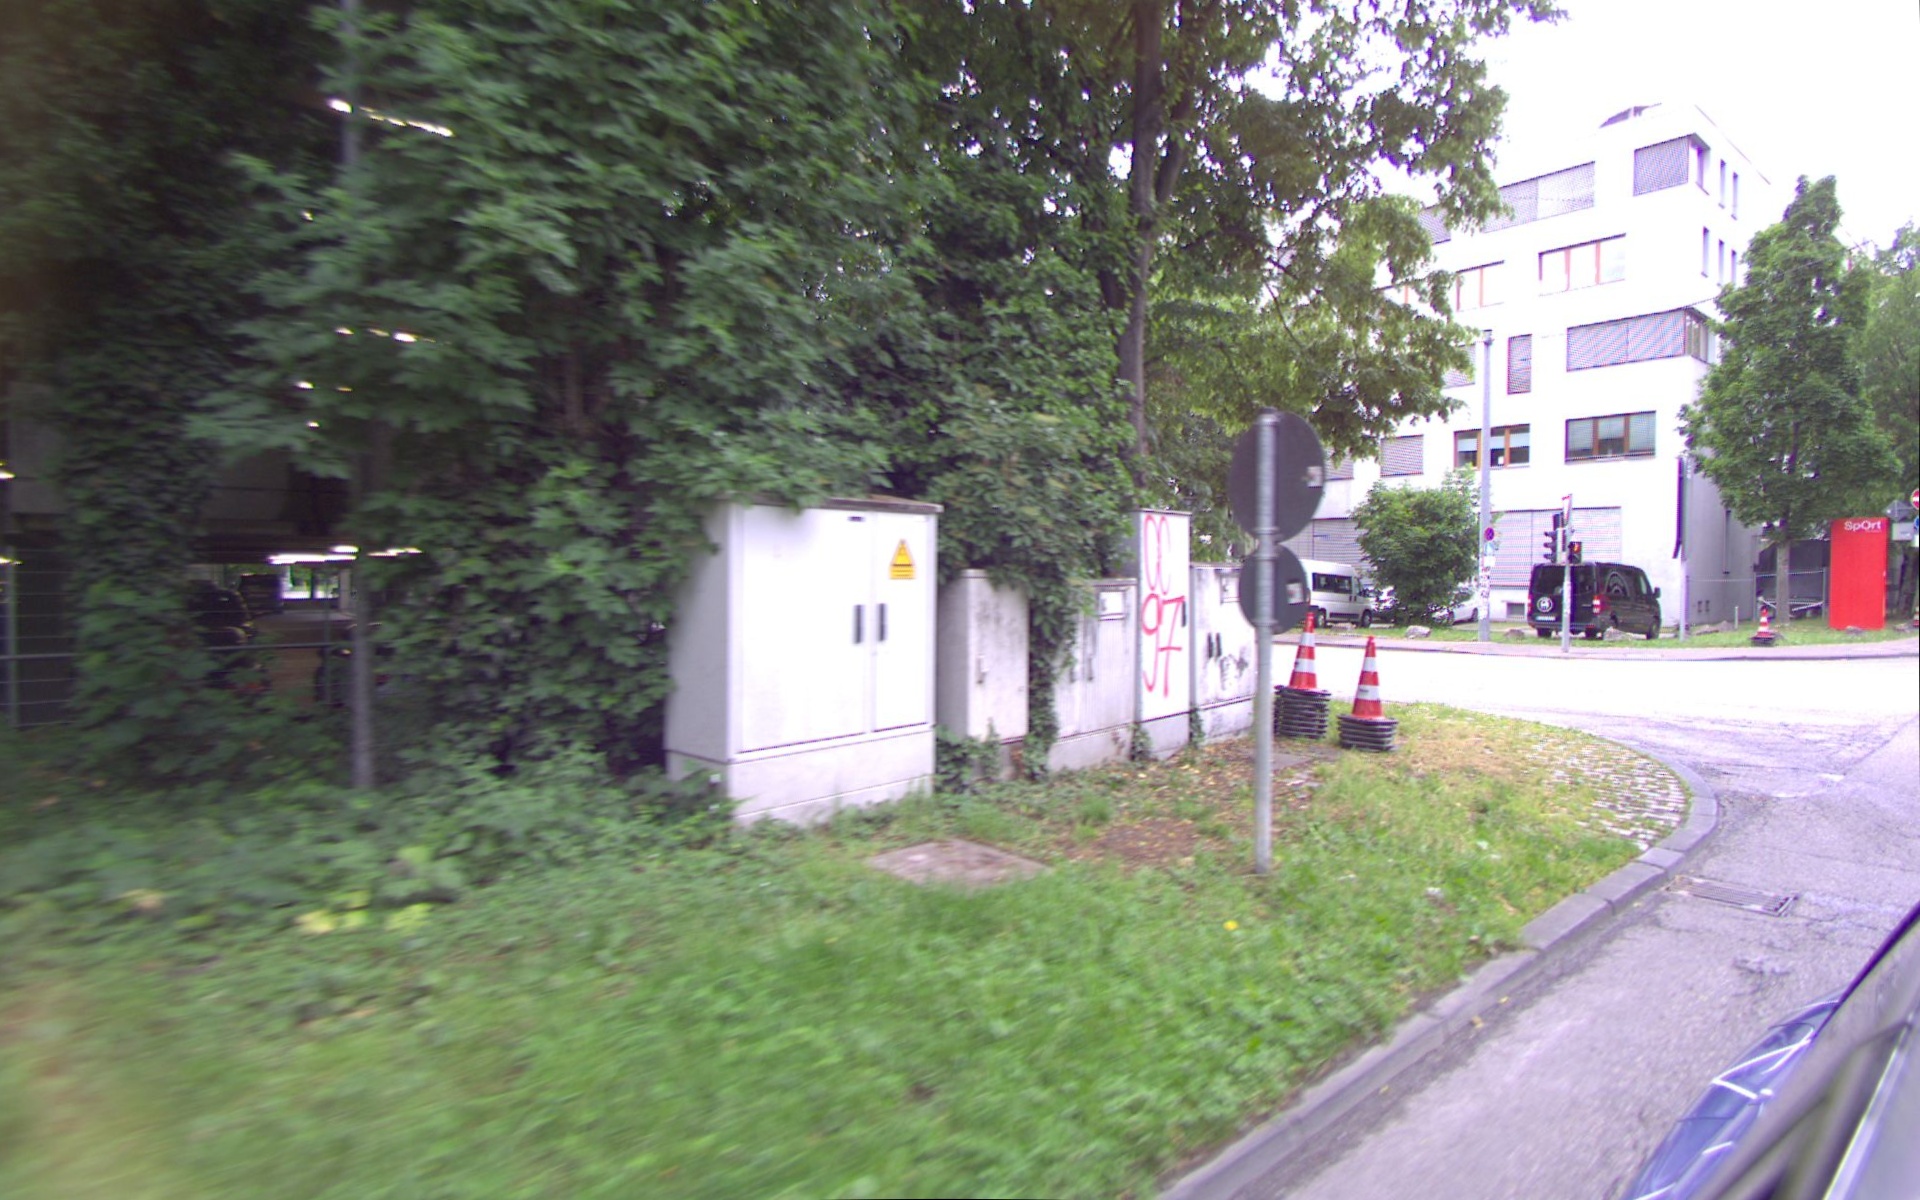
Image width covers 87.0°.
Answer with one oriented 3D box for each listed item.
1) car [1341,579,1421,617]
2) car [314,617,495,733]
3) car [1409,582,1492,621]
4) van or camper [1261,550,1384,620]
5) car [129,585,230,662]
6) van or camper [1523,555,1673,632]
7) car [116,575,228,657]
[{"bbox_3d":[19.394,-0.111,46.574,4.012,1.548,1.841,-3,3,-41],"label":"car"},{"bbox_3d":[-7.326,0.864,13.189,1.592,1.176,3.639,-1,1,-37],"label":"car"},{"bbox_3d":[21.814,0.019,44.954,4.006,1.477,1.855,-4,3,-40],"label":"car"},{"bbox_3d":[13.669,-0.558,37.982,5.096,2.454,2.154,0,0,-41],"label":"van or camper"},{"bbox_3d":[-15.824,0.401,20.521,1.495,1.381,3.773,-1,2,-38],"label":"car"},{"bbox_3d":[19.365,-0.150,30.628,5.541,2.137,2.168,1,-1,-39],"label":"van or camper"},{"bbox_3d":[-19.198,0.311,24.640,1.965,1.749,3.996,-3,3,-39],"label":"car"}]
